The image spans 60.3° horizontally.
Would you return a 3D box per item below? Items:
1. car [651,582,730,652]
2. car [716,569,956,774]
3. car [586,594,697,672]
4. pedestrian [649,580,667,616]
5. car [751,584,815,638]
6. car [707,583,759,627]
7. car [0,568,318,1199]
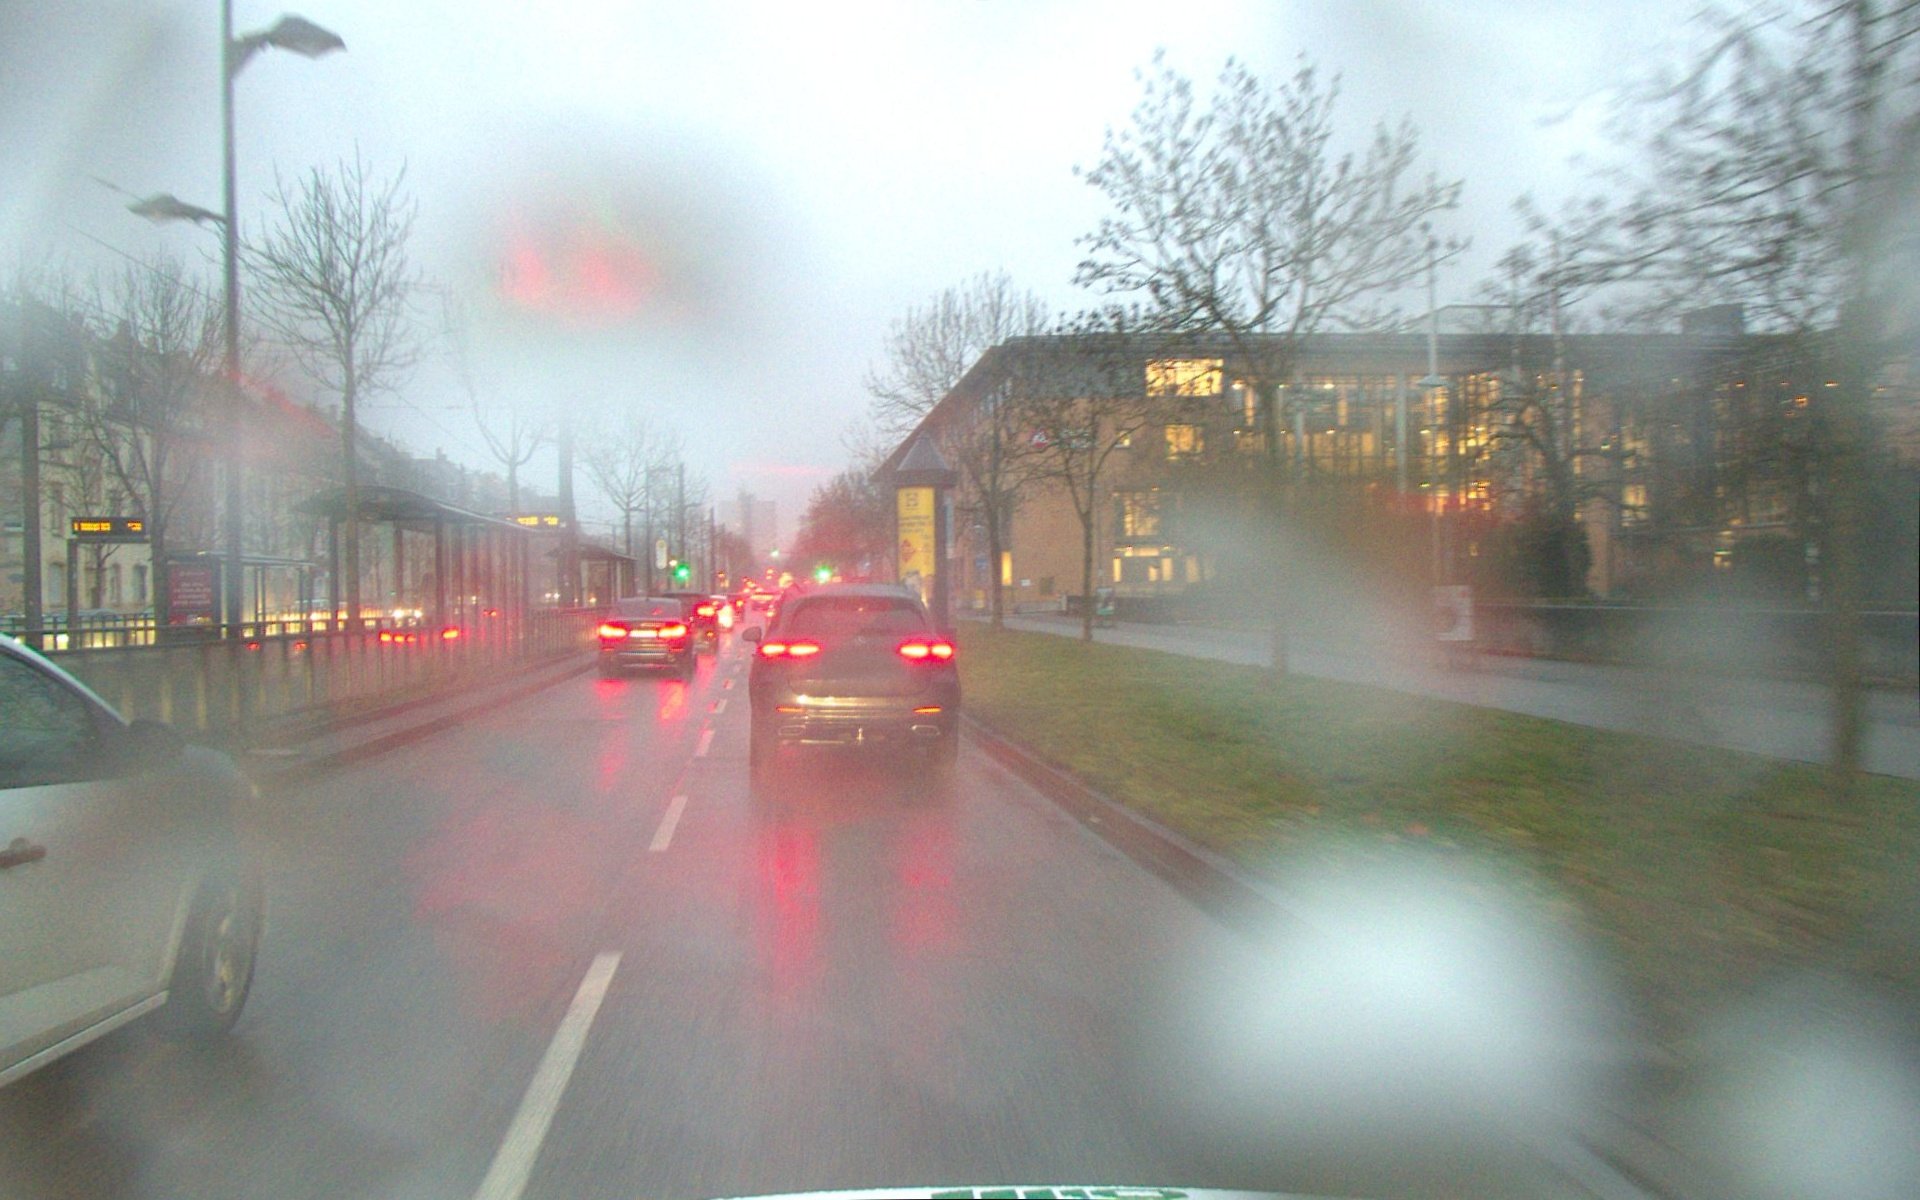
[{"bbox_3d":[-7.408,0.434,45.770,1.956,1.796,3.994,-1,1,-7],"label":"car"},{"bbox_3d":[-1.205,0.572,15.688,1.952,1.644,3.995,-1,1,-6],"label":"car"},{"bbox_3d":[-6.337,0.613,33.280,1.956,1.422,3.993,-1,1,-8],"label":"car"},{"bbox_3d":[-13.577,-0.082,74.367,0.685,1.579,0.668,-2,0,-7],"label":"pedestrian"},{"bbox_3d":[-5.800,0.339,53.842,1.956,1.646,3.994,-1,1,-7],"label":"car"},{"bbox_3d":[-9.060,0.188,66.230,1.956,1.646,3.994,-1,1,-7],"label":"car"},{"bbox_3d":[-3.117,0.698,4.077,1.593,1.513,3.999,-1,1,-2],"label":"car"}]
